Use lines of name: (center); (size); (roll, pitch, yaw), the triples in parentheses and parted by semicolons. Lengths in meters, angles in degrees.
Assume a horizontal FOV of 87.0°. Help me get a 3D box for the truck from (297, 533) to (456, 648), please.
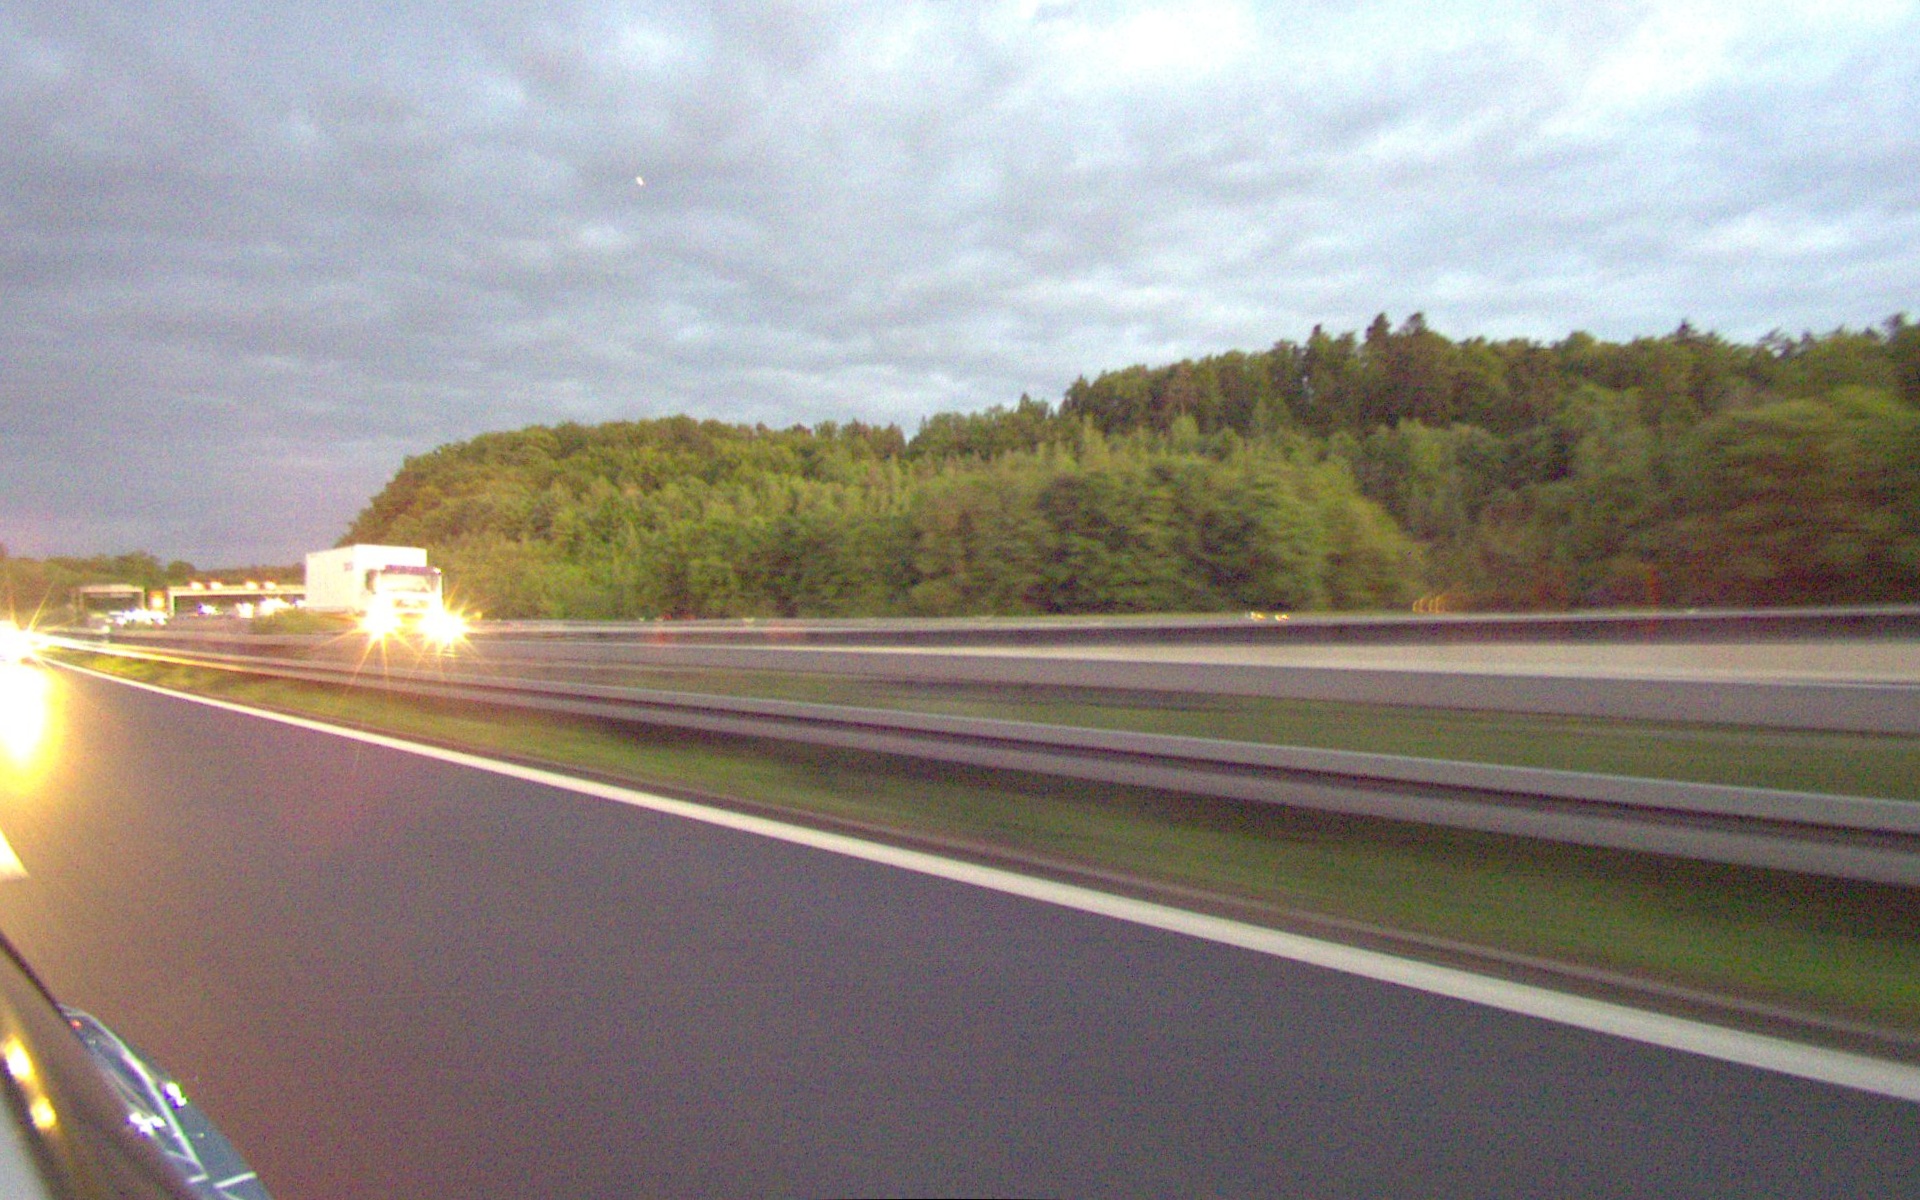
truck: (-24.667, -0.315, 42.465); (9.891, 4.334, 3.005); (-1, 0, 43)

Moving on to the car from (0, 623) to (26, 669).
car: (-34.361, 1.605, 35.656); (3.753, 1.572, 1.648); (-1, -1, 39)
